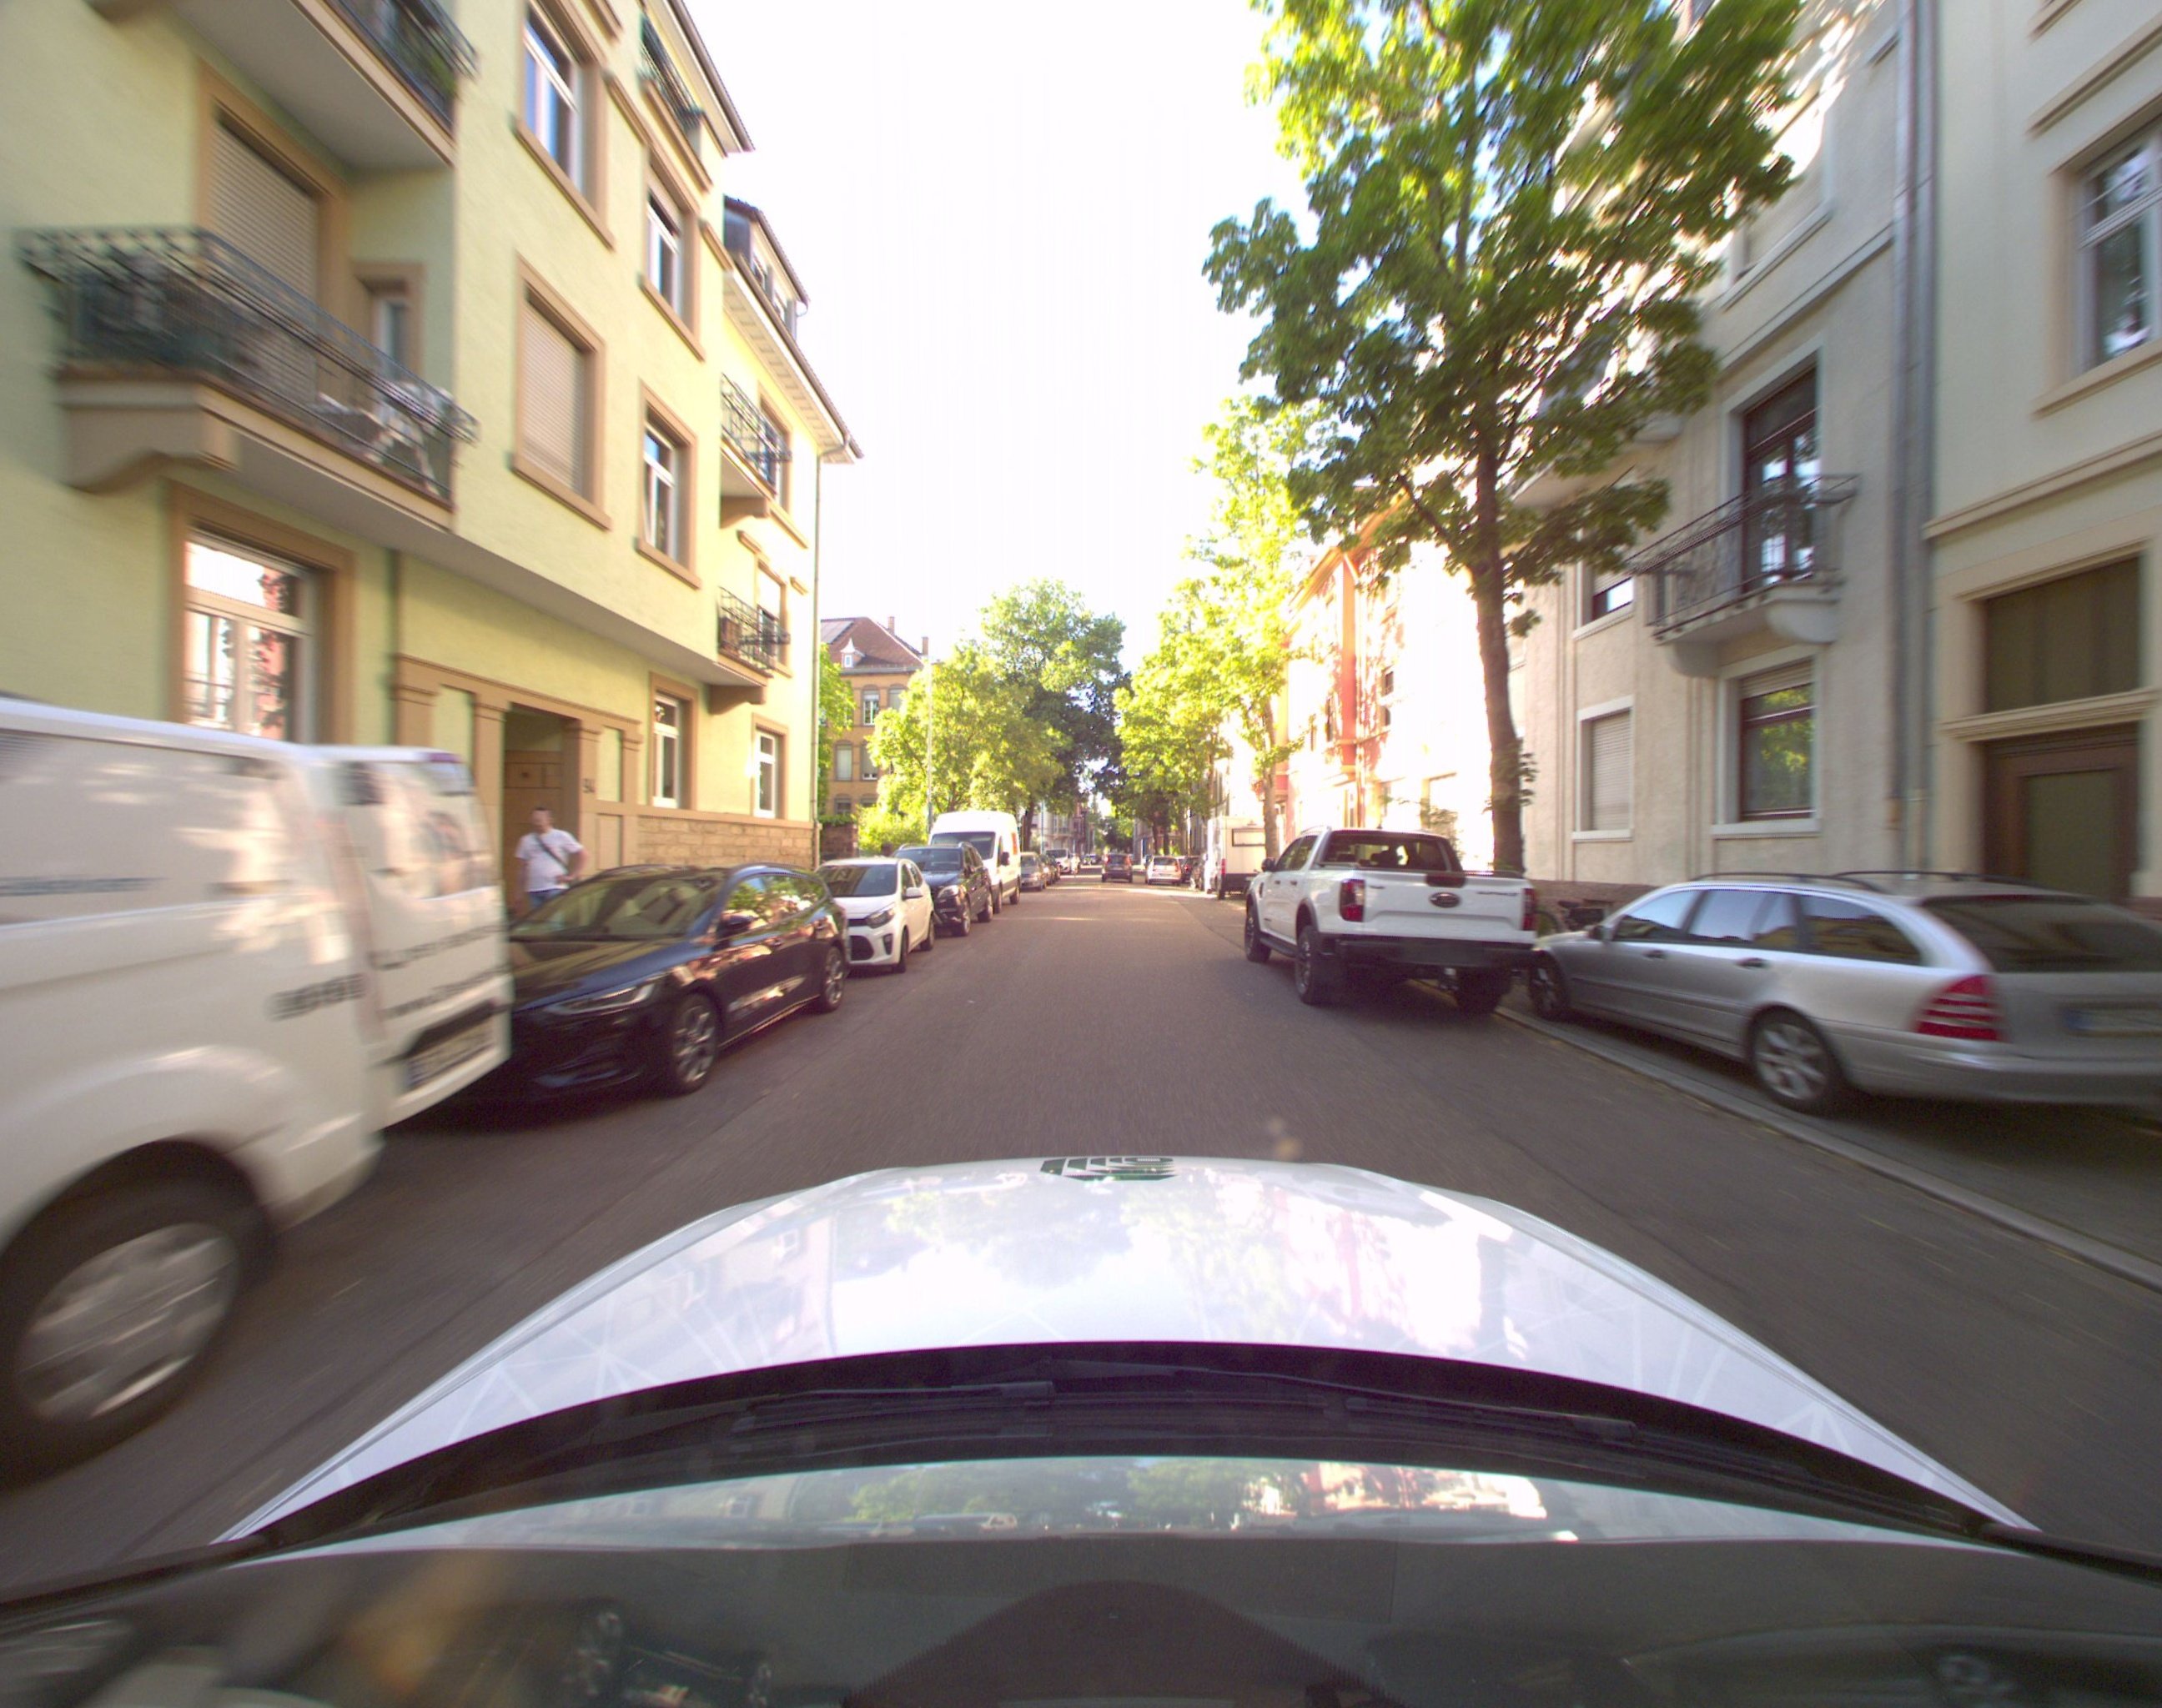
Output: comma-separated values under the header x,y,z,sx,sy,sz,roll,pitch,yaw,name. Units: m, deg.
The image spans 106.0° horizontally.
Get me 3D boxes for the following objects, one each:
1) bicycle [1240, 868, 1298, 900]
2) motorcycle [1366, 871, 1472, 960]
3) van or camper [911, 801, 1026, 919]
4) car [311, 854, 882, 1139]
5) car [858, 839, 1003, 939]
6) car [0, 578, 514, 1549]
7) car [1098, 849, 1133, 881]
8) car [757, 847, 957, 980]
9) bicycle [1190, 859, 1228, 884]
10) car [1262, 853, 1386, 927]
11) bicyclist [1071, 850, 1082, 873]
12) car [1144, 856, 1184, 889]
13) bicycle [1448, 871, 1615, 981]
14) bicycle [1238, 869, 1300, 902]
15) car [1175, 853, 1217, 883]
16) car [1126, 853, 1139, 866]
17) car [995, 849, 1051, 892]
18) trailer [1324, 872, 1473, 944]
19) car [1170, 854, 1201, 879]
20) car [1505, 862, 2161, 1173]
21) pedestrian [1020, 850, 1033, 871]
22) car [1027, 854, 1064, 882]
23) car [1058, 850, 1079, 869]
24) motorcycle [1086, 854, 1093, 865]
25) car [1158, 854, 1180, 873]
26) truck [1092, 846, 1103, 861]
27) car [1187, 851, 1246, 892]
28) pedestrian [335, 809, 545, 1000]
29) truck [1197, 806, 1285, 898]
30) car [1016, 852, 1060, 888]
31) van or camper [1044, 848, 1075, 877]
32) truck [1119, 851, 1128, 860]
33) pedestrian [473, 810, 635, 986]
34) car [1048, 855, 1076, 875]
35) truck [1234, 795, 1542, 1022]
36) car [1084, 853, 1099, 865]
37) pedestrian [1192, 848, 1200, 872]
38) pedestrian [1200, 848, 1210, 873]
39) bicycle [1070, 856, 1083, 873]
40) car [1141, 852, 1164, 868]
x,y,z,sx,sy,sz,roll,pitch,yaw,name
6.037,0.952,26.158,1.699,1.000,0.705,1,0,-5,bicycle
5.161,0.886,12.394,1.773,1.240,0.694,1,0,-38,motorcycle
-2.893,0.144,22.448,2.120,2.769,5.854,-2,0,2,van or camper
-3.237,0.778,6.848,1.759,1.521,4.827,-1,0,2,car
-2.868,0.600,16.675,1.868,1.685,4.971,-2,0,1,car
-3.550,0.494,0.800,2.244,2.168,5.242,-2,0,0,car
1.789,0.556,42.898,1.628,1.550,3.263,1,1,-1,car
-2.944,0.714,11.602,1.629,1.552,4.089,-1,-1,1,car
6.316,0.876,40.250,1.804,1.167,0.569,-2,0,0,bicycle
5.555,0.747,19.235,1.743,1.529,4.785,-1,0,3,car
-0.279,0.478,53.590,0.649,1.509,0.625,0,0,3,bicyclist
4.182,0.907,41.519,1.673,1.544,3.801,1,0,1,car
5.546,0.869,10.073,1.753,1.305,0.586,0,0,0,bicycle
5.737,0.962,24.918,1.777,0.949,0.580,1,0,3,bicycle
6.262,0.748,44.797,1.780,1.514,4.461,1,0,1,car
6.990,0.720,110.157,1.656,1.669,3.760,1,0,3,car
-2.293,0.637,33.287,1.774,1.591,4.470,-2,0,1,car
5.322,0.884,13.743,2.082,1.112,1.111,1,0,-12,trailer
6.516,0.768,51.017,1.590,1.488,3.750,-1,0,2,car
5.142,0.810,6.149,1.674,1.422,4.432,-1,0,2,car
-4.137,0.496,62.196,0.877,1.577,0.530,1,0,2,pedestrian
-1.940,0.747,45.791,1.708,1.395,4.780,-3,0,1,car
-1.136,0.506,76.153,1.819,1.554,4.132,-3,0,0,car
1.199,0.671,109.461,0.696,1.460,1.746,-1,0,-7,motorcycle
7.097,0.723,65.848,1.514,1.511,3.546,0,0,2,car
3.379,-0.115,165.365,2.062,2.926,5.071,-3,0,3,truck
5.978,0.723,36.395,1.879,1.716,4.944,0,0,1,car
-6.053,0.443,7.793,0.989,1.675,1.243,0,0,1,pedestrian
5.738,-0.080,29.988,2.066,2.968,6.110,-2,0,1,truck
-2.032,0.711,39.490,1.669,1.572,4.154,-3,0,3,car
-1.547,0.611,60.323,1.915,1.980,5.462,-3,0,1,van or camper
9.278,0.339,178.932,1.986,1.992,4.002,0,0,2,truck
-5.920,0.461,9.242,0.989,1.861,1.243,0,0,1,pedestrian
-1.487,0.858,65.842,1.993,1.457,4.608,-2,0,2,car
3.188,0.464,9.862,1.821,1.949,5.544,1,0,2,truck
1.456,0.690,112.754,1.789,1.432,3.928,-3,0,3,car
8.174,0.433,57.899,0.518,1.735,0.879,0,0,3,pedestrian
8.783,0.455,57.689,0.593,1.701,0.689,0,0,3,pedestrian
-0.287,0.681,53.566,0.662,1.077,1.687,0,0,4,bicycle
6.987,0.567,79.515,1.783,1.551,4.408,1,0,-1,car
